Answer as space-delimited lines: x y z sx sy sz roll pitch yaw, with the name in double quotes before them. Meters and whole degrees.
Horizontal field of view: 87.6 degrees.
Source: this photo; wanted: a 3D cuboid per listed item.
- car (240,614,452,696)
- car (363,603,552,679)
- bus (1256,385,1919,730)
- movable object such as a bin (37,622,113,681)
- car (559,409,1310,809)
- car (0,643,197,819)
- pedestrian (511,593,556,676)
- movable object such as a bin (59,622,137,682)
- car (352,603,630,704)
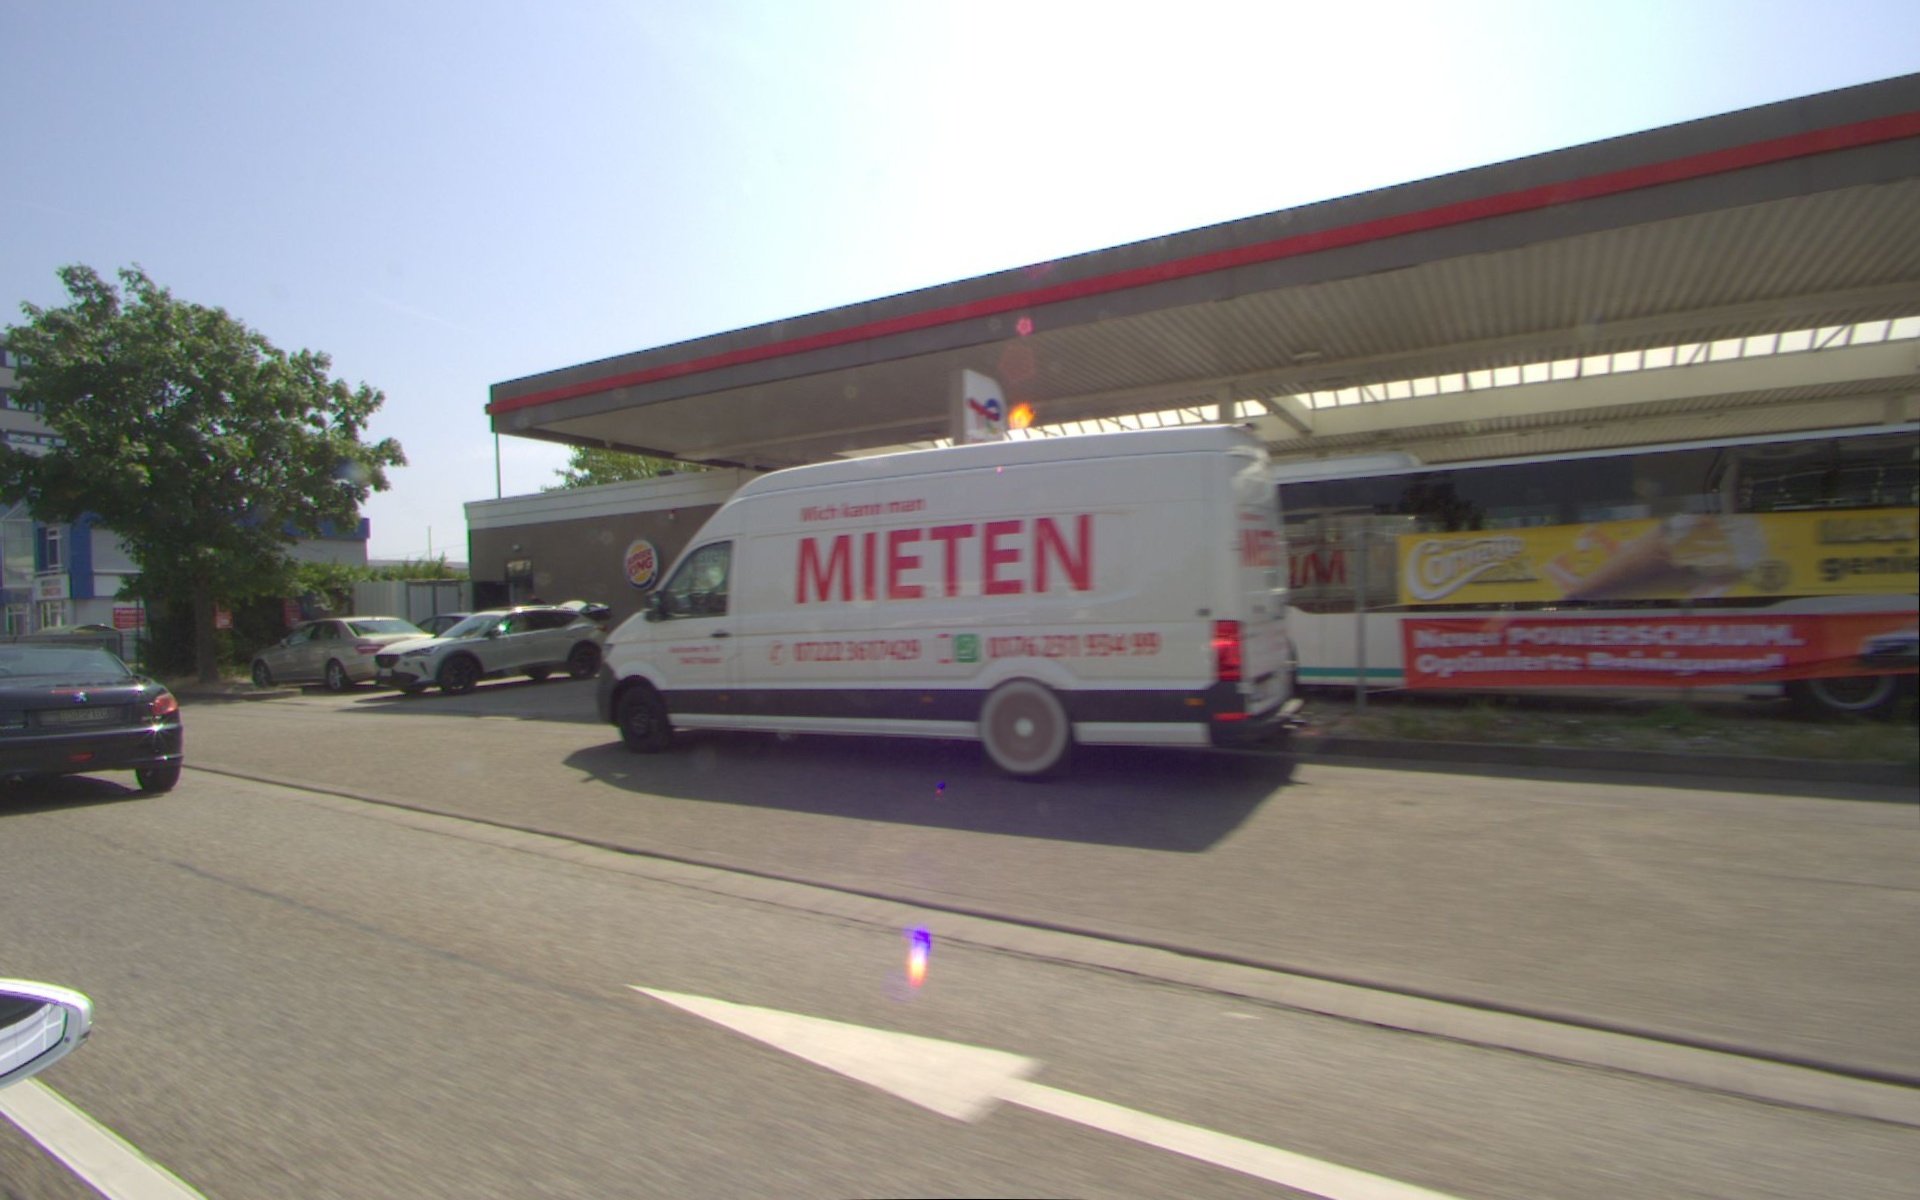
"car" -13.003 1.133 21.152 4.567 1.486 1.790 -2 2 30
"car" -11.822 0.939 23.520 4.188 1.557 1.897 -2 2 29
"bus" 8.246 -0.367 11.375 8.951 3.194 2.742 -1 0 33
"movable object such as a bin" -23.894 1.372 27.030 1.468 1.489 1.128 -1 0 31
"car" -0.549 0.112 9.756 7.169 2.812 2.173 -1 2 30
"car" -8.888 1.116 9.489 3.556 1.381 1.623 -1 -1 35
"pedestrian" -10.667 0.858 25.034 0.809 2.039 0.700 -1 -1 34
"movable object such as a bin" -22.547 1.333 26.200 1.468 1.489 1.128 -1 0 31
"car" -9.021 0.943 19.697 1.880 1.548 4.610 -1 2 32
